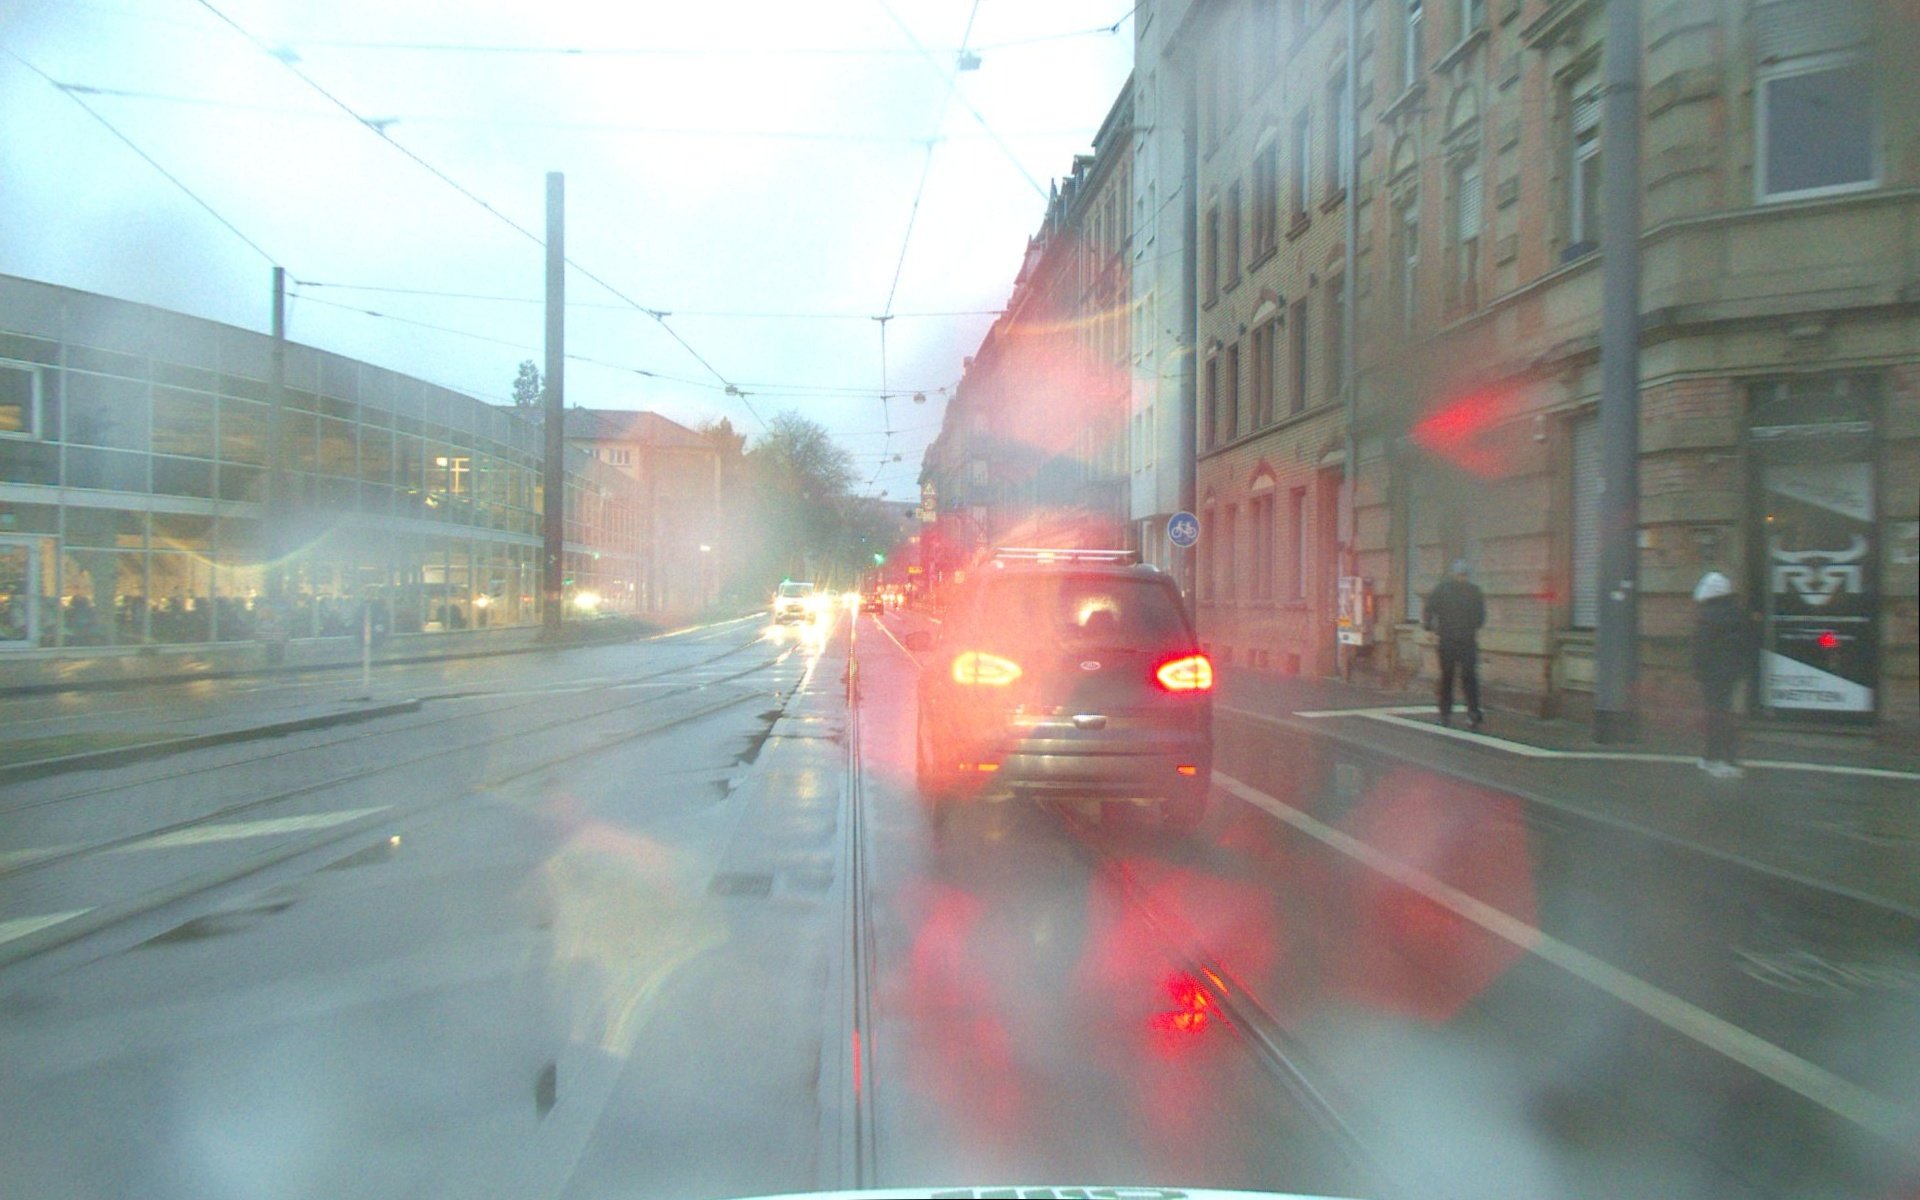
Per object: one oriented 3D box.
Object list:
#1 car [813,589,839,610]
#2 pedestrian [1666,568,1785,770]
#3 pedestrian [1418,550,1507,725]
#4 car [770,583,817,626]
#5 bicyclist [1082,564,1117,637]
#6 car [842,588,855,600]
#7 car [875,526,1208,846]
[{"bbox_3d":[-10.468,-0.076,129.563,1.804,1.606,4.440,0,0,-2],"label":"car"},{"bbox_3d":[6.142,0.536,13.297,0.619,1.575,0.710,1,0,-1],"label":"pedestrian"},{"bbox_3d":[5.442,0.402,17.942,0.736,1.857,0.710,1,0,-1],"label":"pedestrian"},{"bbox_3d":[-8.124,0.223,81.075,1.953,2.049,4.682,1,0,-2],"label":"car"},{"bbox_3d":[3.672,0.013,43.661,0.730,1.913,1.110,0,0,-6],"label":"bicyclist"},{"bbox_3d":[-16.782,-0.869,248.695,1.838,1.739,4.756,-1,0,-4],"label":"car"},{"bbox_3d":[0.455,0.505,11.782,1.953,1.874,3.999,1,0,-1],"label":"car"}]
